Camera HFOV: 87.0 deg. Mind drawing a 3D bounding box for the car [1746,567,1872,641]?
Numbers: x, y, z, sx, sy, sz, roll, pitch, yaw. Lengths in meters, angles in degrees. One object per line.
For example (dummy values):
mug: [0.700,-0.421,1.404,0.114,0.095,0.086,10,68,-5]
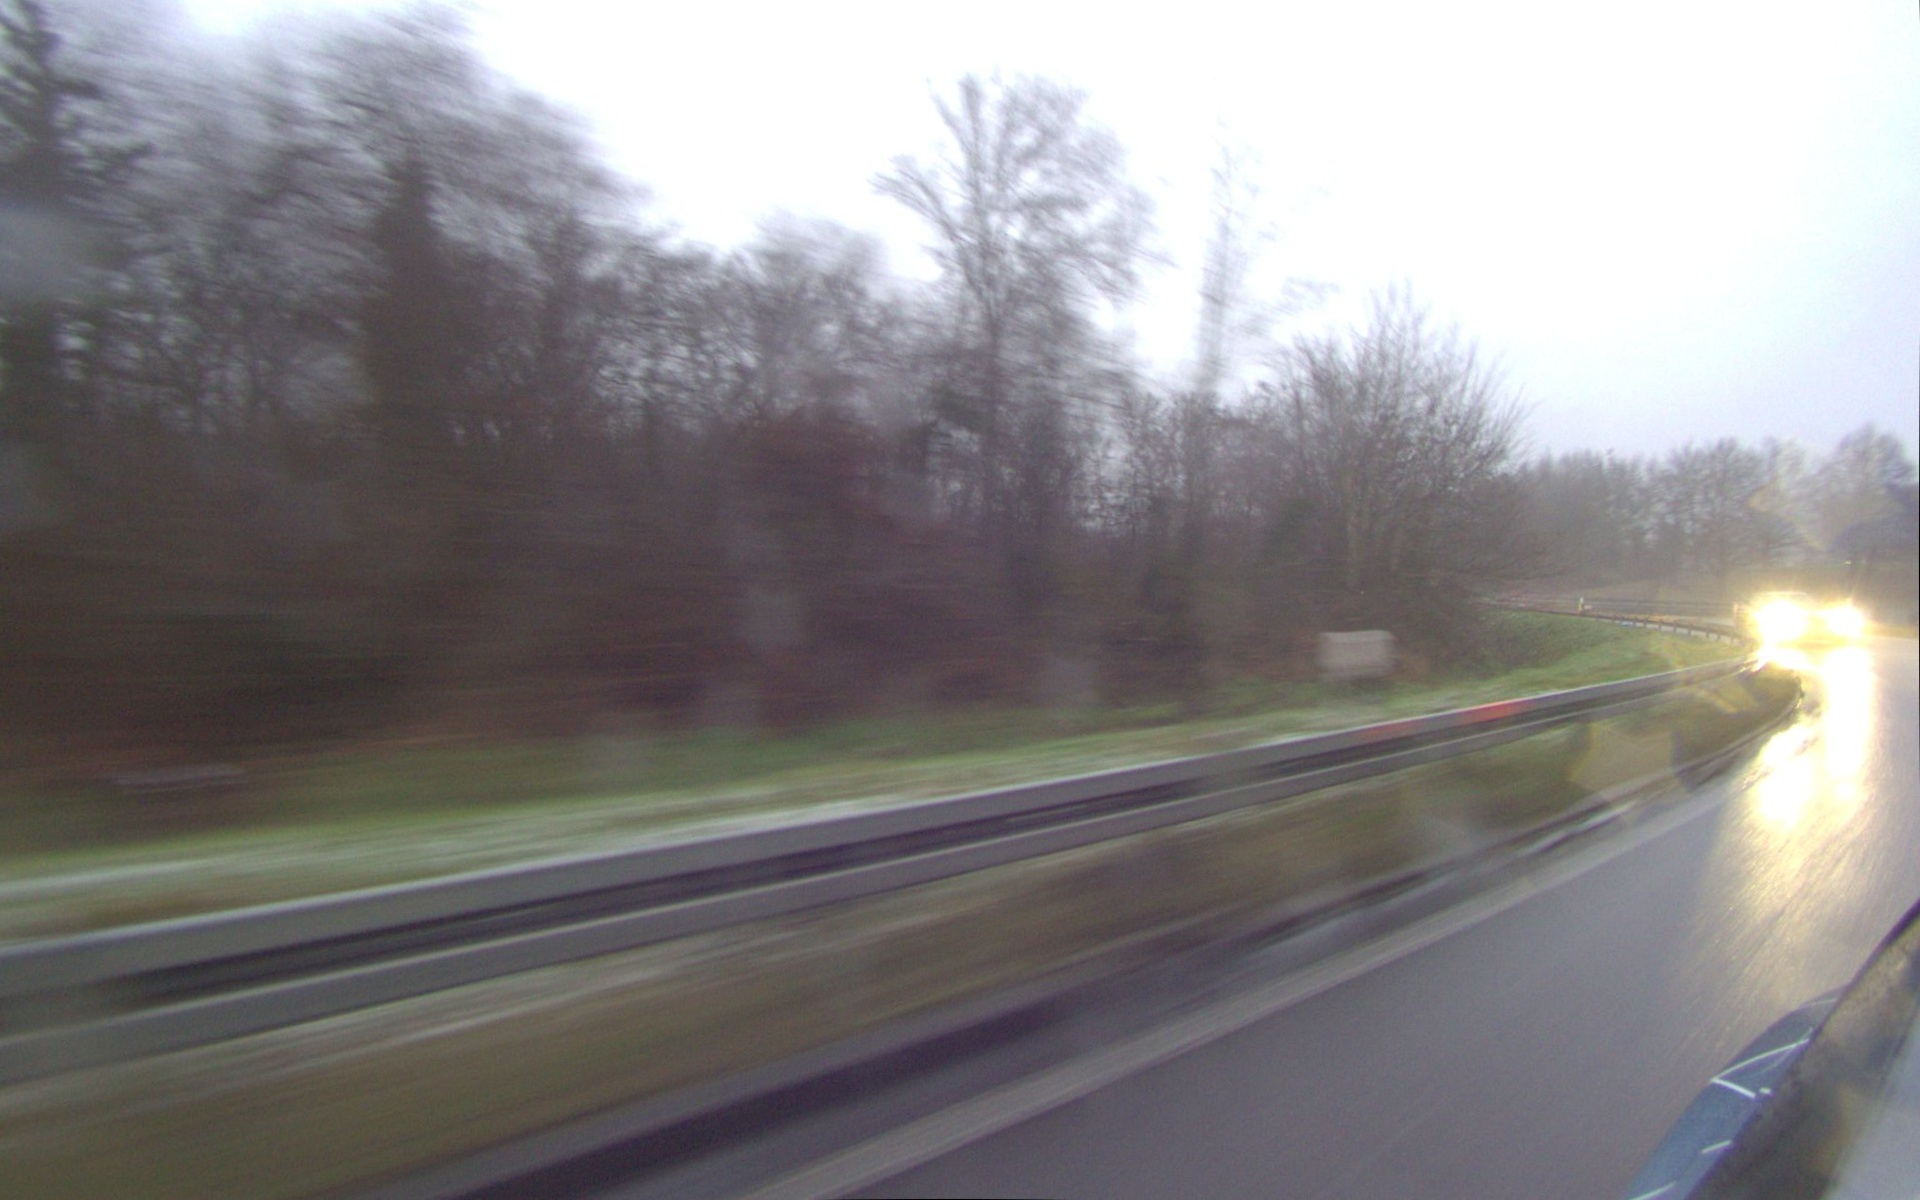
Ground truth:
car: [26.192,0.134,31.385,1.981,2.038,3.927,4,1,26]
